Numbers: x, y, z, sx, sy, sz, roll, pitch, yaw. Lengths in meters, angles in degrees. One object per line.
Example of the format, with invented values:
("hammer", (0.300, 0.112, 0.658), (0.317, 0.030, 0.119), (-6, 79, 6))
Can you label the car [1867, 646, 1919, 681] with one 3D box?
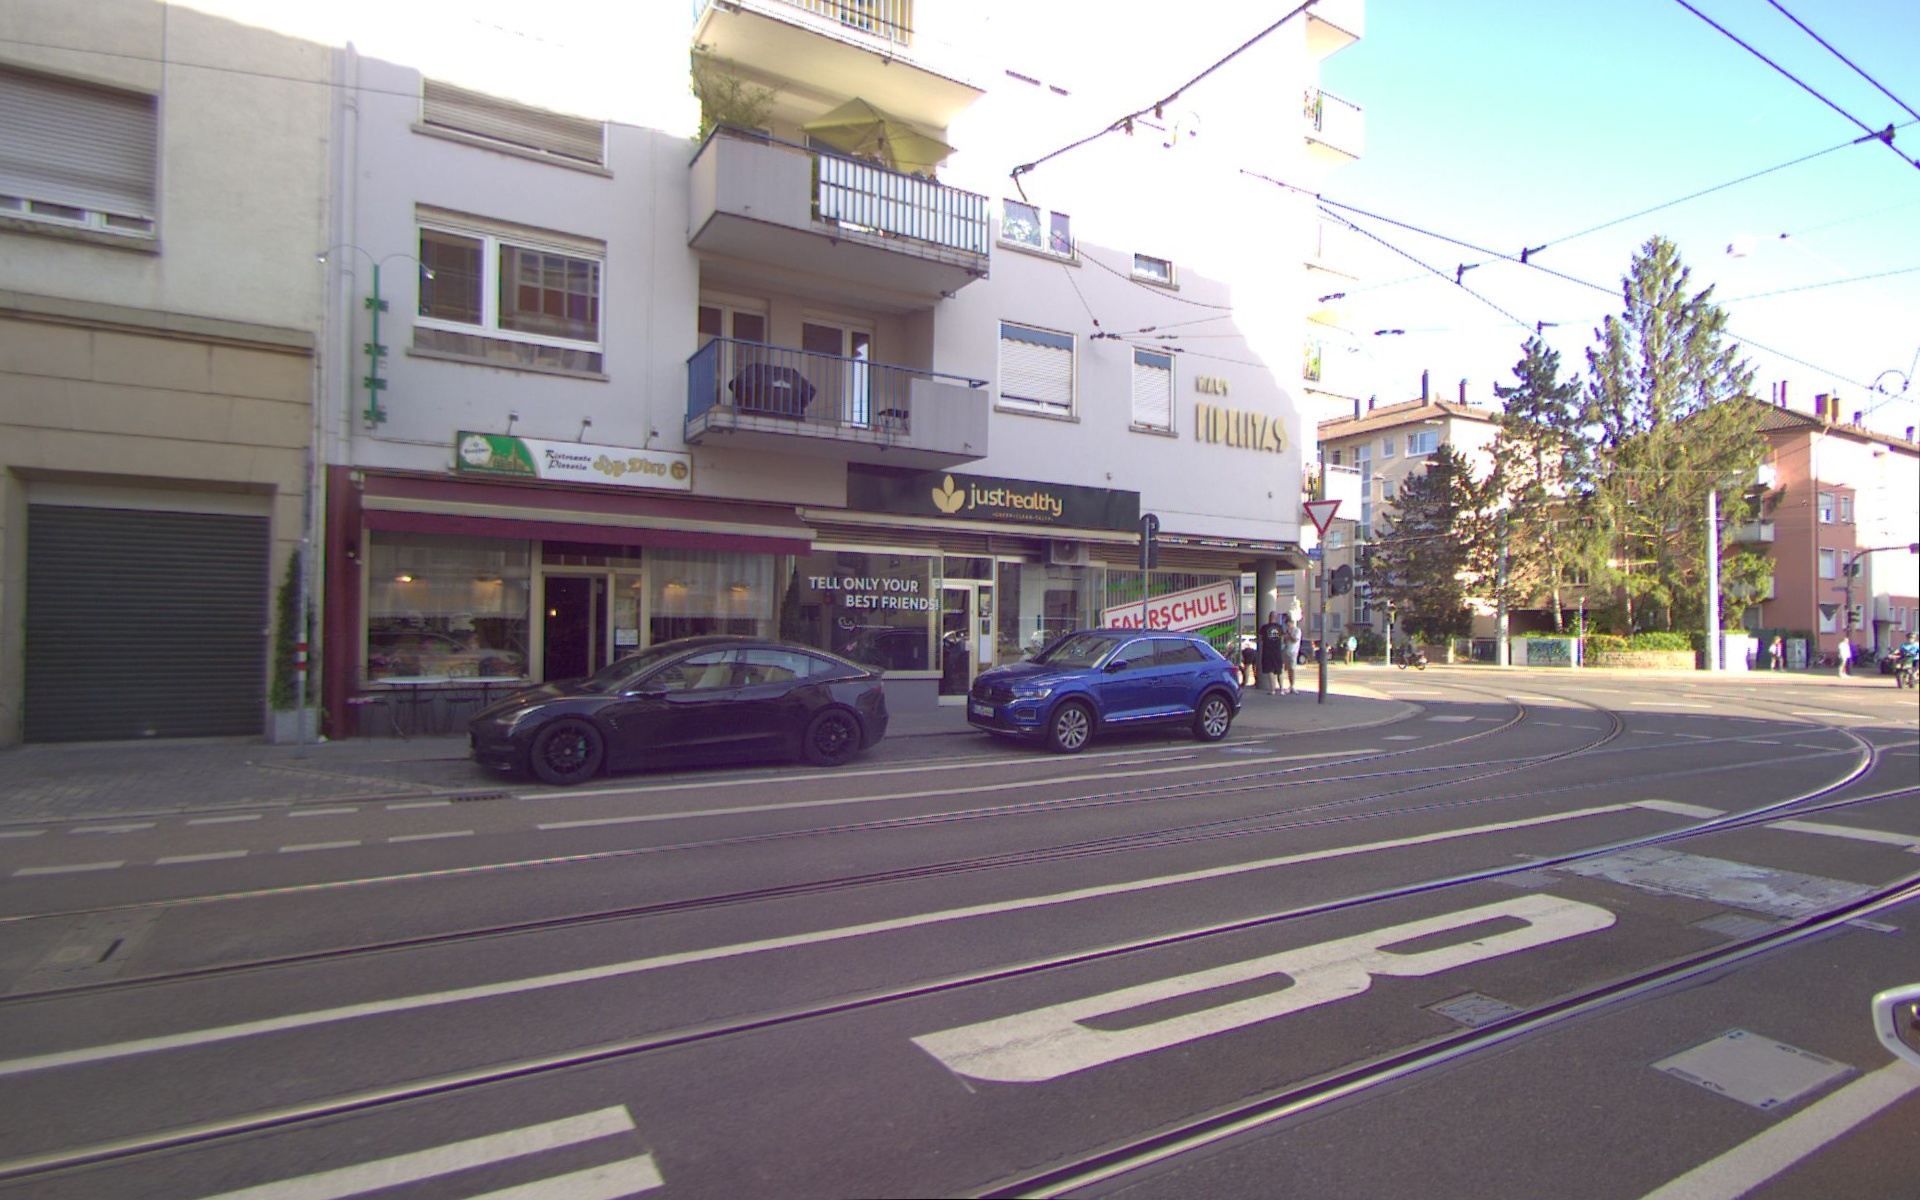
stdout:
("car", (44.648, 3.035, 47.001), (4.392, 1.450, 2.142), (4, -1, -32))

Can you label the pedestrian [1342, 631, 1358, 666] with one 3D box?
("pedestrian", (22.111, 2.736, 56.956), (0.687, 1.911, 0.780), (2, 0, 27))

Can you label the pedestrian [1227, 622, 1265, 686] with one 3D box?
("pedestrian", (7.679, 1.467, 27.018), (0.688, 1.672, 0.758), (4, -5, -12))

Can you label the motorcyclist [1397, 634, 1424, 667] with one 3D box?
("motorcyclist", (21.569, 2.425, 48.090), (0.845, 1.508, 0.725), (2, 0, -23))

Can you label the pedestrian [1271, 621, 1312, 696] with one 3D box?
("pedestrian", (8.173, 1.426, 24.760), (0.652, 1.816, 0.733), (1, -1, -24))

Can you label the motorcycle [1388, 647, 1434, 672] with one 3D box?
("motorcycle", (21.567, 2.829, 48.064), (0.845, 1.060, 1.931), (2, 0, -22))

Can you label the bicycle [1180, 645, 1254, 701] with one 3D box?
("bicycle", (5.433, 1.537, 21.244), (1.520, 1.121, 0.549), (2, 0, -29))

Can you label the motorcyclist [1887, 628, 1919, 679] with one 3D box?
("motorcyclist", (28.650, 1.628, 30.446), (0.678, 1.516, 0.689), (4, -3, -35))

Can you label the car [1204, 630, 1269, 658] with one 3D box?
("car", (17.911, 2.861, 65.270), (1.752, 1.619, 4.000), (2, 0, -30))

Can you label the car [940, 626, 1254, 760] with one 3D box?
("car", (1.962, 1.169, 13.962), (4.192, 1.524, 1.759), (1, 1, -33))

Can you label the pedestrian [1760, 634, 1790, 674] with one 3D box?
("pedestrian", (36.426, 2.411, 44.905), (0.768, 1.744, 0.705), (2, 0, 12))

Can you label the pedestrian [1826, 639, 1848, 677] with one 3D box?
("pedestrian", (37.365, 2.455, 42.775), (0.567, 1.589, 0.514), (2, 0, -30))

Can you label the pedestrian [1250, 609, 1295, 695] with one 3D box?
("pedestrian", (7.211, 1.195, 23.208), (0.726, 1.925, 0.573), (3, -2, -12))

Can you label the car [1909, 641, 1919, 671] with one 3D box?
("car", (49.009, 2.839, 49.654), (4.053, 1.455, 1.895), (2, 0, -29))

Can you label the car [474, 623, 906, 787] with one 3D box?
("car", (-2.981, 1.081, 11.360), (4.393, 1.494, 1.760), (2, 0, -30))

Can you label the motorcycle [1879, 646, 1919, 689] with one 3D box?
("motorcycle", (28.515, 2.042, 30.352), (1.947, 1.236, 0.707), (4, -3, -35))

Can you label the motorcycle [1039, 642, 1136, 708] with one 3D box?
("motorcycle", (2.395, 1.388, 18.799), (1.776, 1.149, 0.604), (2, 0, -31))

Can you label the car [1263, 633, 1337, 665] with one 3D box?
("car", (20.400, 2.936, 60.416), (1.847, 1.650, 4.046), (2, 0, -26))
